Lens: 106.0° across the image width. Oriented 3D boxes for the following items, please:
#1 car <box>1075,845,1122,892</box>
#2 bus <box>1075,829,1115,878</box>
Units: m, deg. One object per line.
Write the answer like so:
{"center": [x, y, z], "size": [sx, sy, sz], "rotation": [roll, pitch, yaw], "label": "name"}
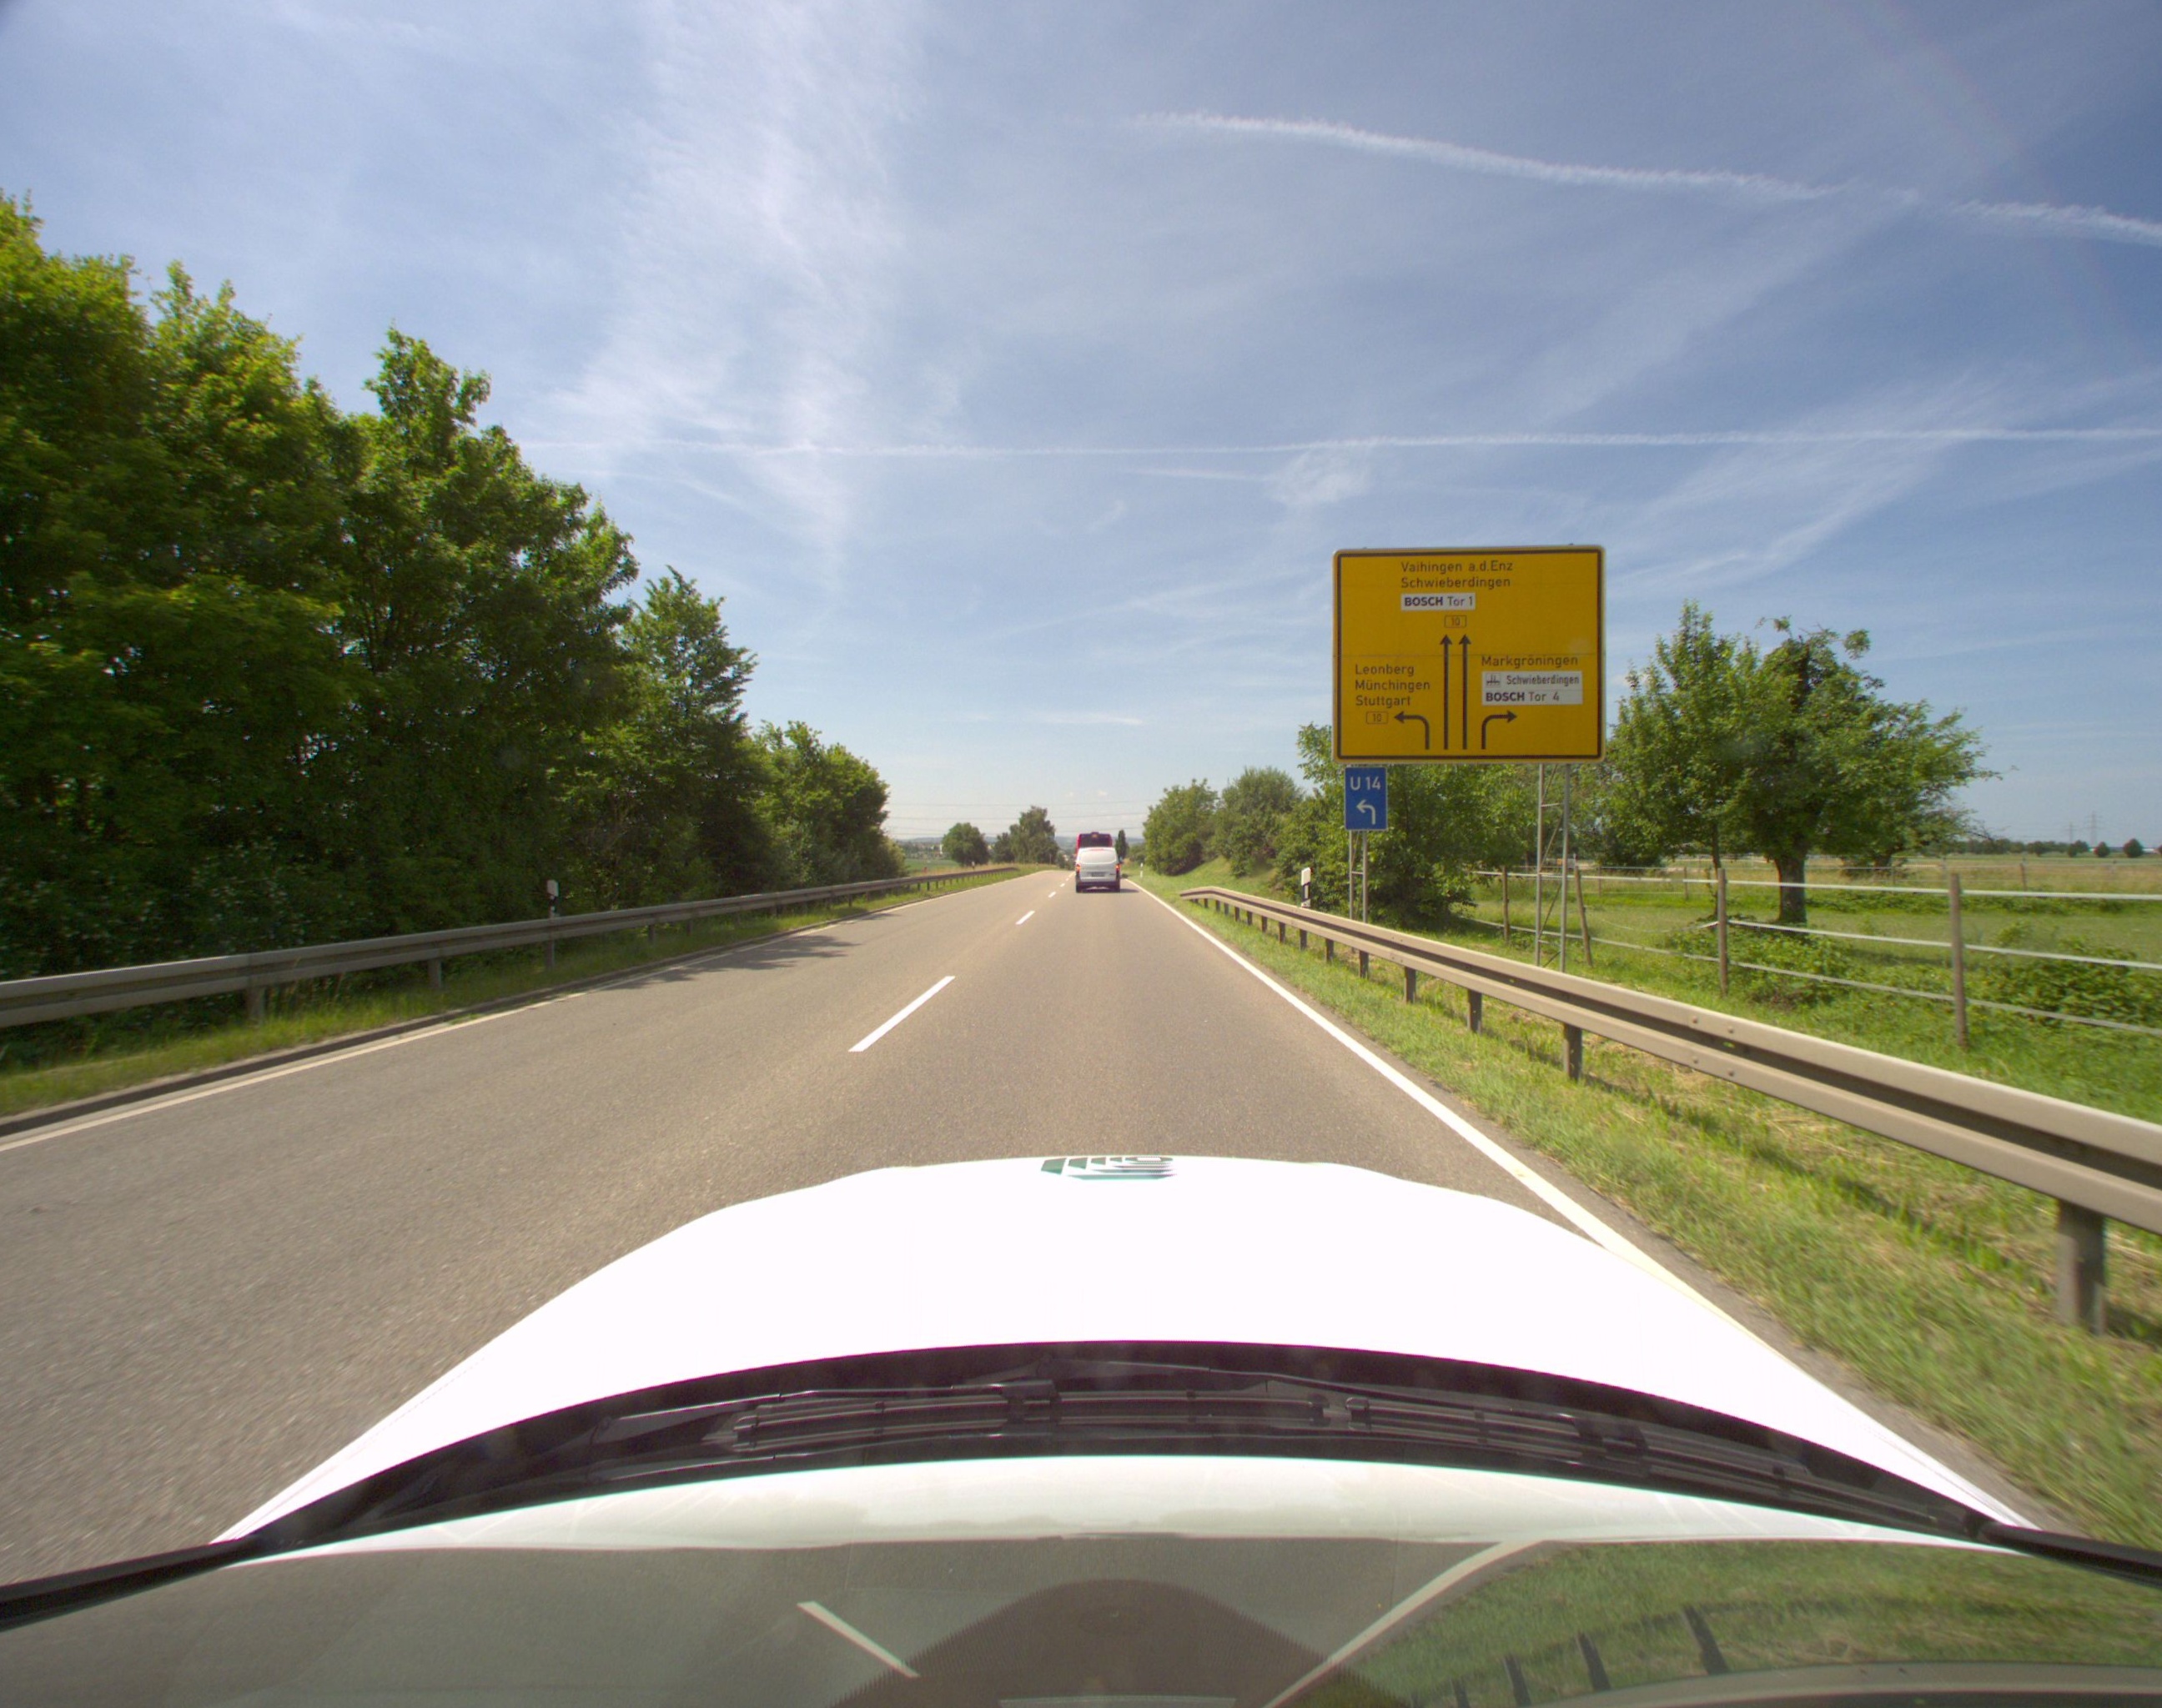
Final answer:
{"center": [0.816, 0.578, 35.334], "size": [1.916, 1.889, 4.003], "rotation": [0, 1, 2], "label": "car"}
{"center": [1.073, -0.068, 63.297], "size": [2.737, 3.353, 13.223], "rotation": [-1, 0, 1], "label": "bus"}
